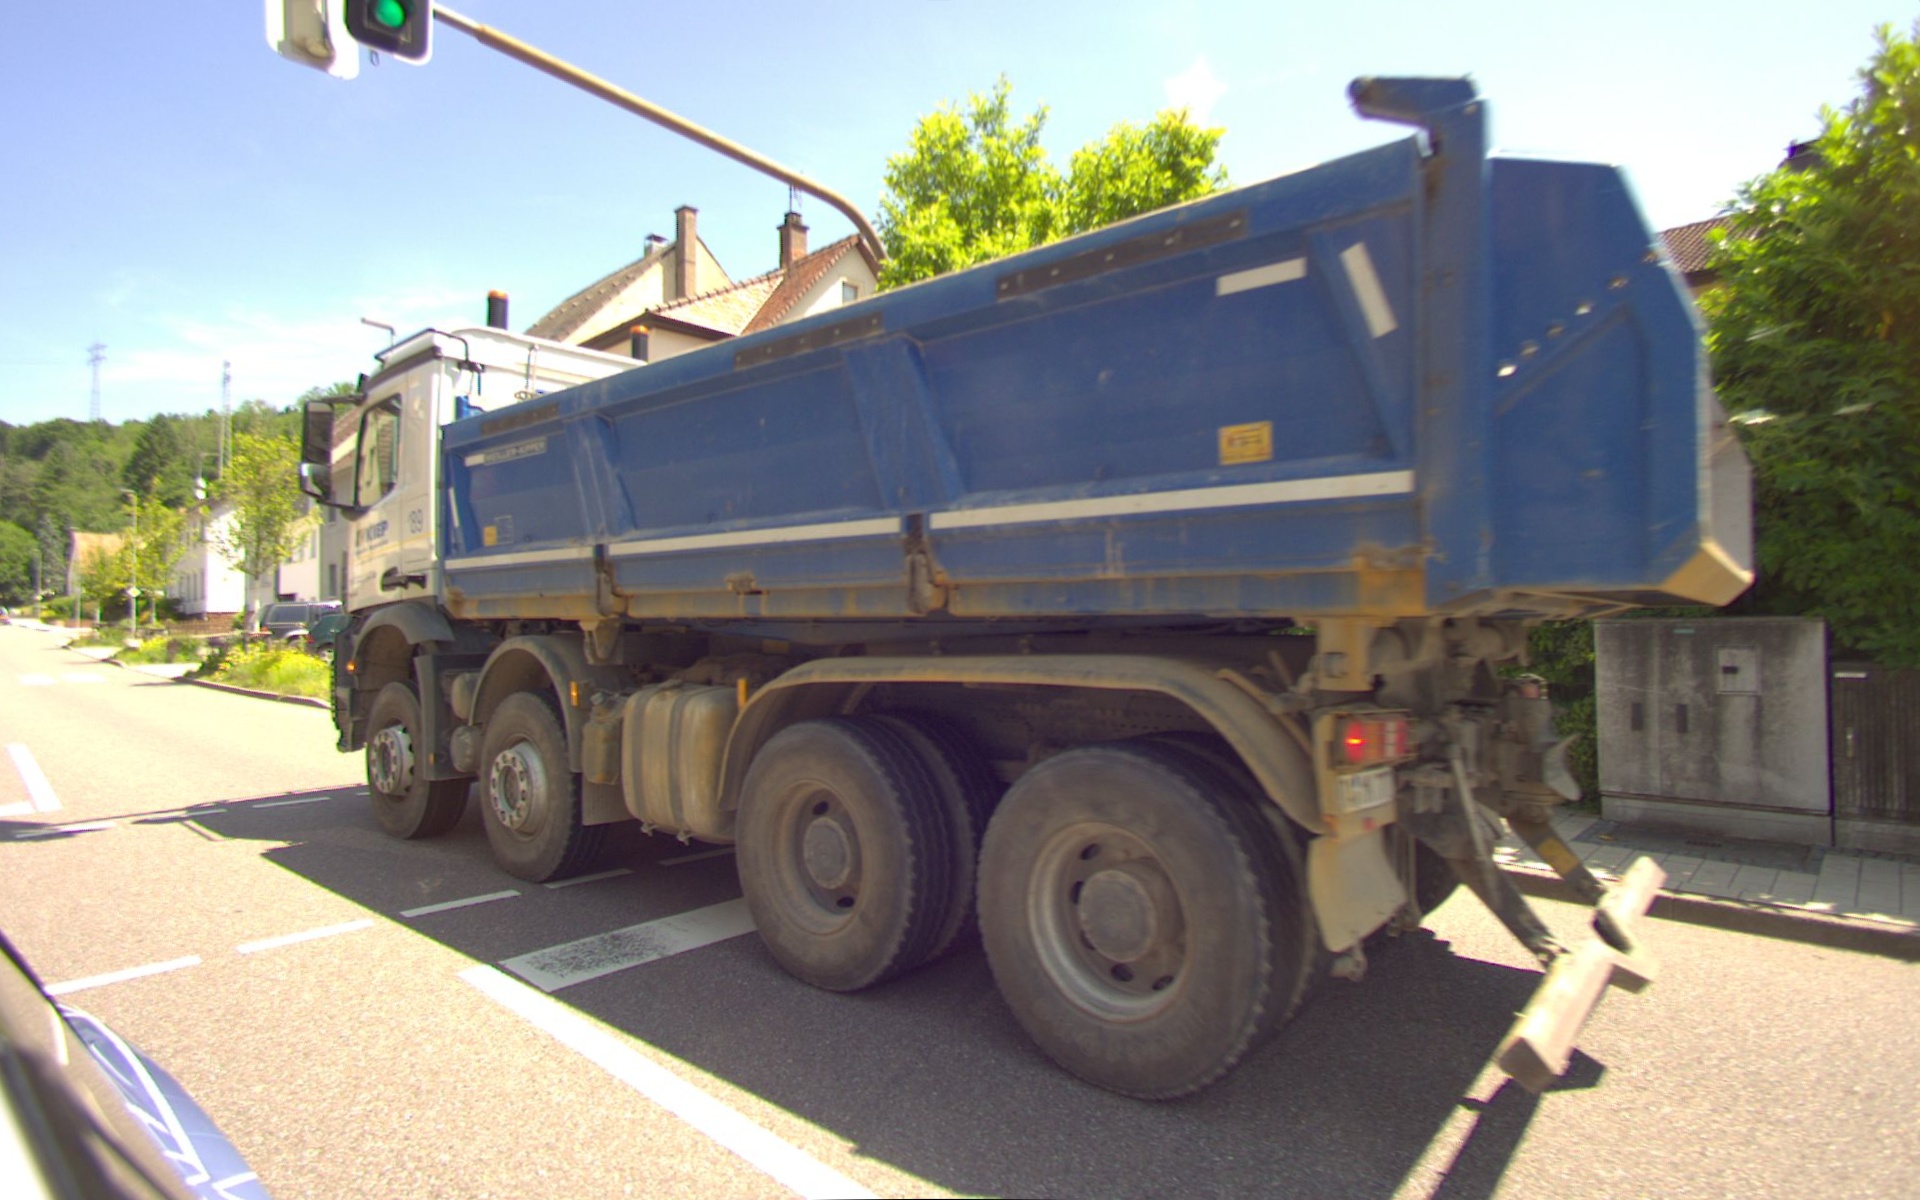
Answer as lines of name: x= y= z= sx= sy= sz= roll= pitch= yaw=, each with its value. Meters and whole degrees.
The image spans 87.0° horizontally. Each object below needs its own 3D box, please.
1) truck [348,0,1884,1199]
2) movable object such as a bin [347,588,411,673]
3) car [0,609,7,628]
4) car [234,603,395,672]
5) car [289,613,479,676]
truck: x=-0.827 y=-0.401 z=5.632 sx=2.512 sy=3.766 sz=8.628 roll=2 pitch=-3 yaw=-44
movable object such as a bin: x=-14.318 y=0.732 z=24.940 sx=1.323 sy=2.029 sz=1.047 roll=-1 pitch=0 yaw=44
car: x=-102.671 y=1.983 z=107.290 sx=2.337 sy=2.016 sz=5.178 roll=-1 pitch=0 yaw=-42
car: x=-18.509 y=1.007 z=29.087 sx=1.848 sy=1.804 sz=3.557 roll=0 pitch=0 yaw=43
car: x=-15.046 y=1.126 z=26.606 sx=3.988 sy=1.511 sz=1.706 roll=-1 pitch=0 yaw=-7
